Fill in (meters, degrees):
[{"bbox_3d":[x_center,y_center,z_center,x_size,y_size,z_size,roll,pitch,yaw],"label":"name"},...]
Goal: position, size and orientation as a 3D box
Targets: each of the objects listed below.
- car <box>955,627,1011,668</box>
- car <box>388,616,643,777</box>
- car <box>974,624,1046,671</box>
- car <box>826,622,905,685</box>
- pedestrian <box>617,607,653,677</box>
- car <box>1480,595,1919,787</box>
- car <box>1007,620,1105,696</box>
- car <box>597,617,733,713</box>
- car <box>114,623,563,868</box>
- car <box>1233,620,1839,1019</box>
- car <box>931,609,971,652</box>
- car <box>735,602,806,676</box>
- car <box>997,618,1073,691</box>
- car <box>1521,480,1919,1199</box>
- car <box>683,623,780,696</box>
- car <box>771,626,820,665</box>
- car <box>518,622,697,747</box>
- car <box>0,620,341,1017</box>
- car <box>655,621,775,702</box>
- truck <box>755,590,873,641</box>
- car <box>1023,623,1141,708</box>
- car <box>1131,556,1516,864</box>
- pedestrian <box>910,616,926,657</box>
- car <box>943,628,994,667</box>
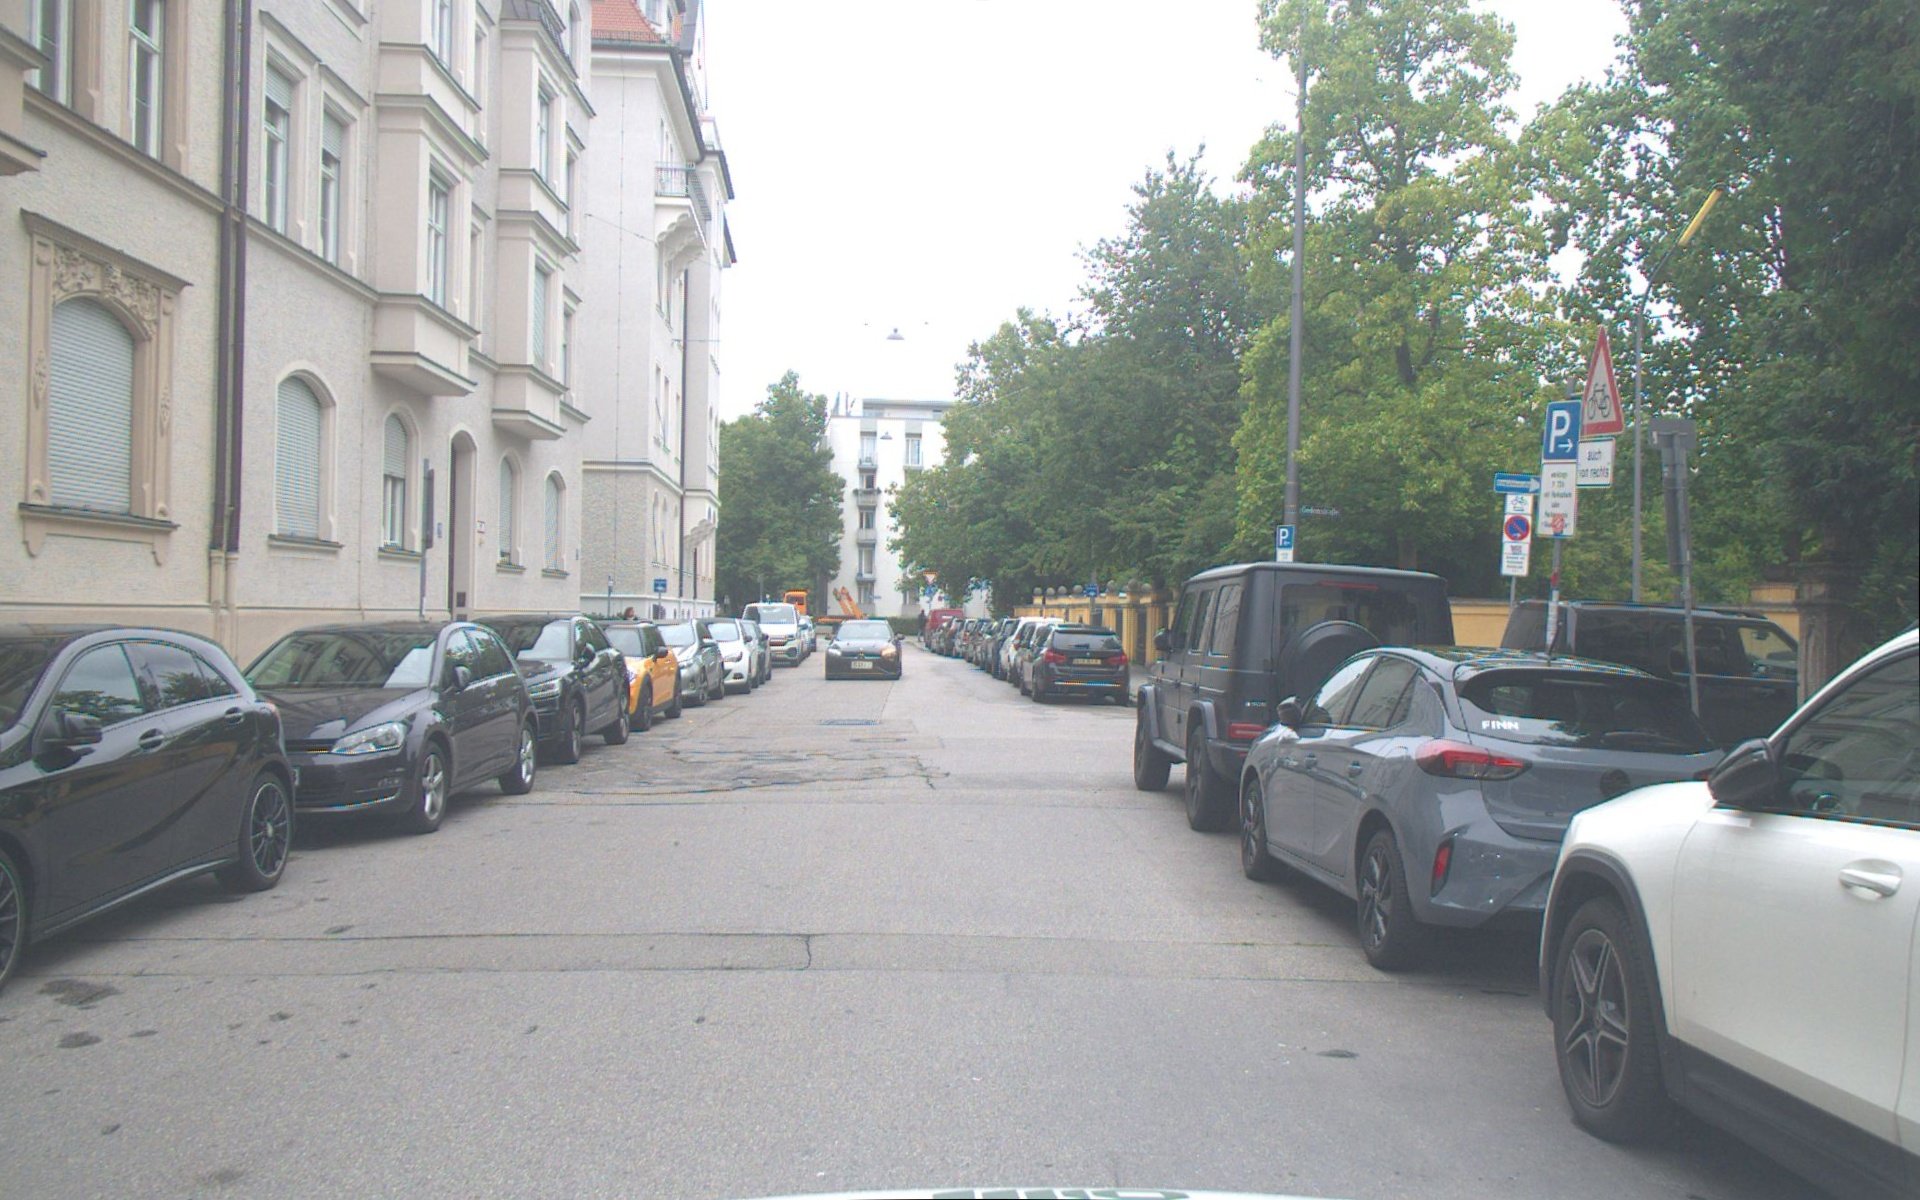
[{"bbox_3d":[0.892,1.881,65.948,1.802,1.545,3.943,2,-2,-5],"label":"car"},{"bbox_3d":[-4.709,0.962,18.105,1.717,1.526,4.018,-1,-1,-1],"label":"car"},{"bbox_3d":[1.535,1.484,52.085,1.802,1.369,3.943,2,-2,-5],"label":"car"},{"bbox_3d":[-2.358,1.305,41.109,1.837,1.453,4.405,1,-1,-4],"label":"car"},{"bbox_3d":[-8.123,1.046,41.339,0.776,1.708,0.700,1,-1,-3],"label":"pedestrian"},{"bbox_3d":[8.345,0.957,18.503,4.444,1.984,1.900,0,1,-8],"label":"car"},{"bbox_3d":[2.076,1.261,36.612,1.620,1.545,3.791,2,-2,-5],"label":"car"},{"bbox_3d":[-5.036,1.104,28.705,1.690,1.526,3.929,-1,-1,-1],"label":"car"},{"bbox_3d":[-4.419,0.943,12.529,1.799,1.461,4.243,-2,-1,-1],"label":"car"},{"bbox_3d":[2.682,0.951,8.617,1.689,1.545,3.628,3,-2,-3],"label":"car"},{"bbox_3d":[-0.426,1.511,81.838,1.799,1.960,4.005,3,-1,1],"label":"car"},{"bbox_3d":[-5.895,1.195,51.894,1.849,2.165,4.703,-2,-1,-3],"label":"car"},{"bbox_3d":[1.835,1.349,41.334,1.484,1.690,3.671,2,-2,-3],"label":"car"},{"bbox_3d":[2.858,0.691,3.574,1.688,1.800,4.412,3,-2,0],"label":"car"},{"bbox_3d":[-5.244,1.325,38.407,1.800,1.526,4.272,-2,-1,-3],"label":"car"},{"bbox_3d":[-7.499,2.044,75.681,1.975,1.662,4.410,-2,-1,-3],"label":"car"},{"bbox_3d":[-4.824,1.106,23.135,1.607,1.526,3.971,-2,-1,0],"label":"car"},{"bbox_3d":[-4.503,0.837,7.531,1.797,1.459,4.551,-1,-1,-2],"label":"car"},{"bbox_3d":[-4.892,1.191,33.601,1.799,1.463,4.273,-2,-1,-1],"label":"car"},{"bbox_3d":[-9.846,1.058,111.269,7.541,3.298,2.888,1,-1,-14],"label":"truck"},{"bbox_3d":[2.232,1.221,31.361,1.801,1.438,4.341,2,-2,-1],"label":"car"},{"bbox_3d":[2.679,0.741,13.398,1.911,1.988,4.664,2,0,-2],"label":"car"},{"bbox_3d":[-2.379,2.102,94.436,0.822,2.325,0.845,1,-1,2],"label":"pedestrian"},{"bbox_3d":[0.324,2.001,69.992,1.802,1.545,3.943,2,-2,-5],"label":"car"}]
